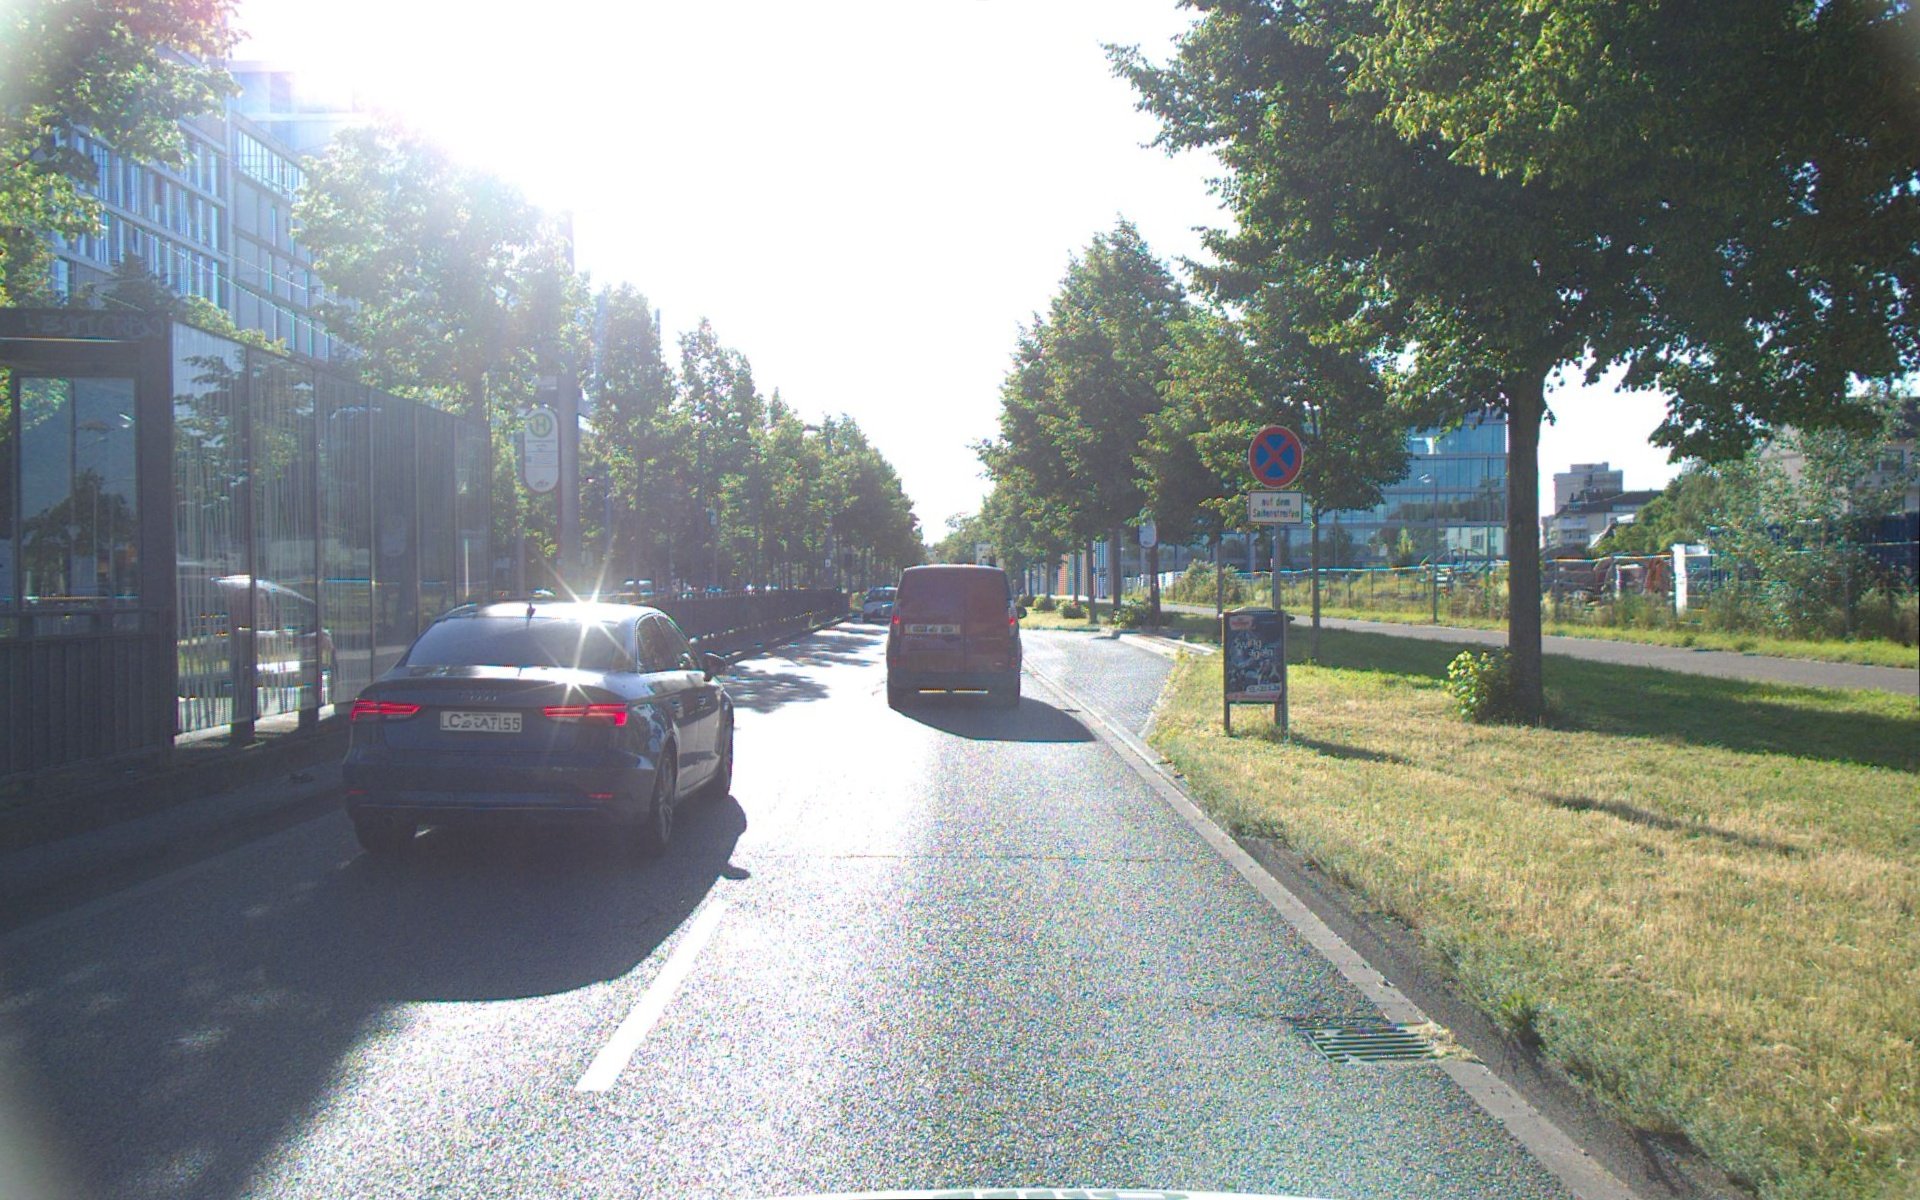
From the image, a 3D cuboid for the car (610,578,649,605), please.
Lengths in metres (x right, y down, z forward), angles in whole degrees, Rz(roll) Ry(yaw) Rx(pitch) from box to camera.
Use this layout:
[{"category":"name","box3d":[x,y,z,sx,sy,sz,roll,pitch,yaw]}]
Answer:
[{"category":"car","box3d":[-23.473,-0.592,117.547,1.953,1.780,4.226,-2,-1,-1]}]

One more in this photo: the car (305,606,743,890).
[{"category":"car","box3d":[-2.457,0.753,10.380,1.686,1.390,4.145,0,0,-1]}]

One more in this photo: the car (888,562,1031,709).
[{"category":"car","box3d":[-0.092,0.407,22.505,1.762,1.808,3.998,-1,1,-3]}]

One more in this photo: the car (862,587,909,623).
[{"category":"car","box3d":[-3.154,0.202,69.954,1.903,1.466,3.998,-1,0,-3]}]
